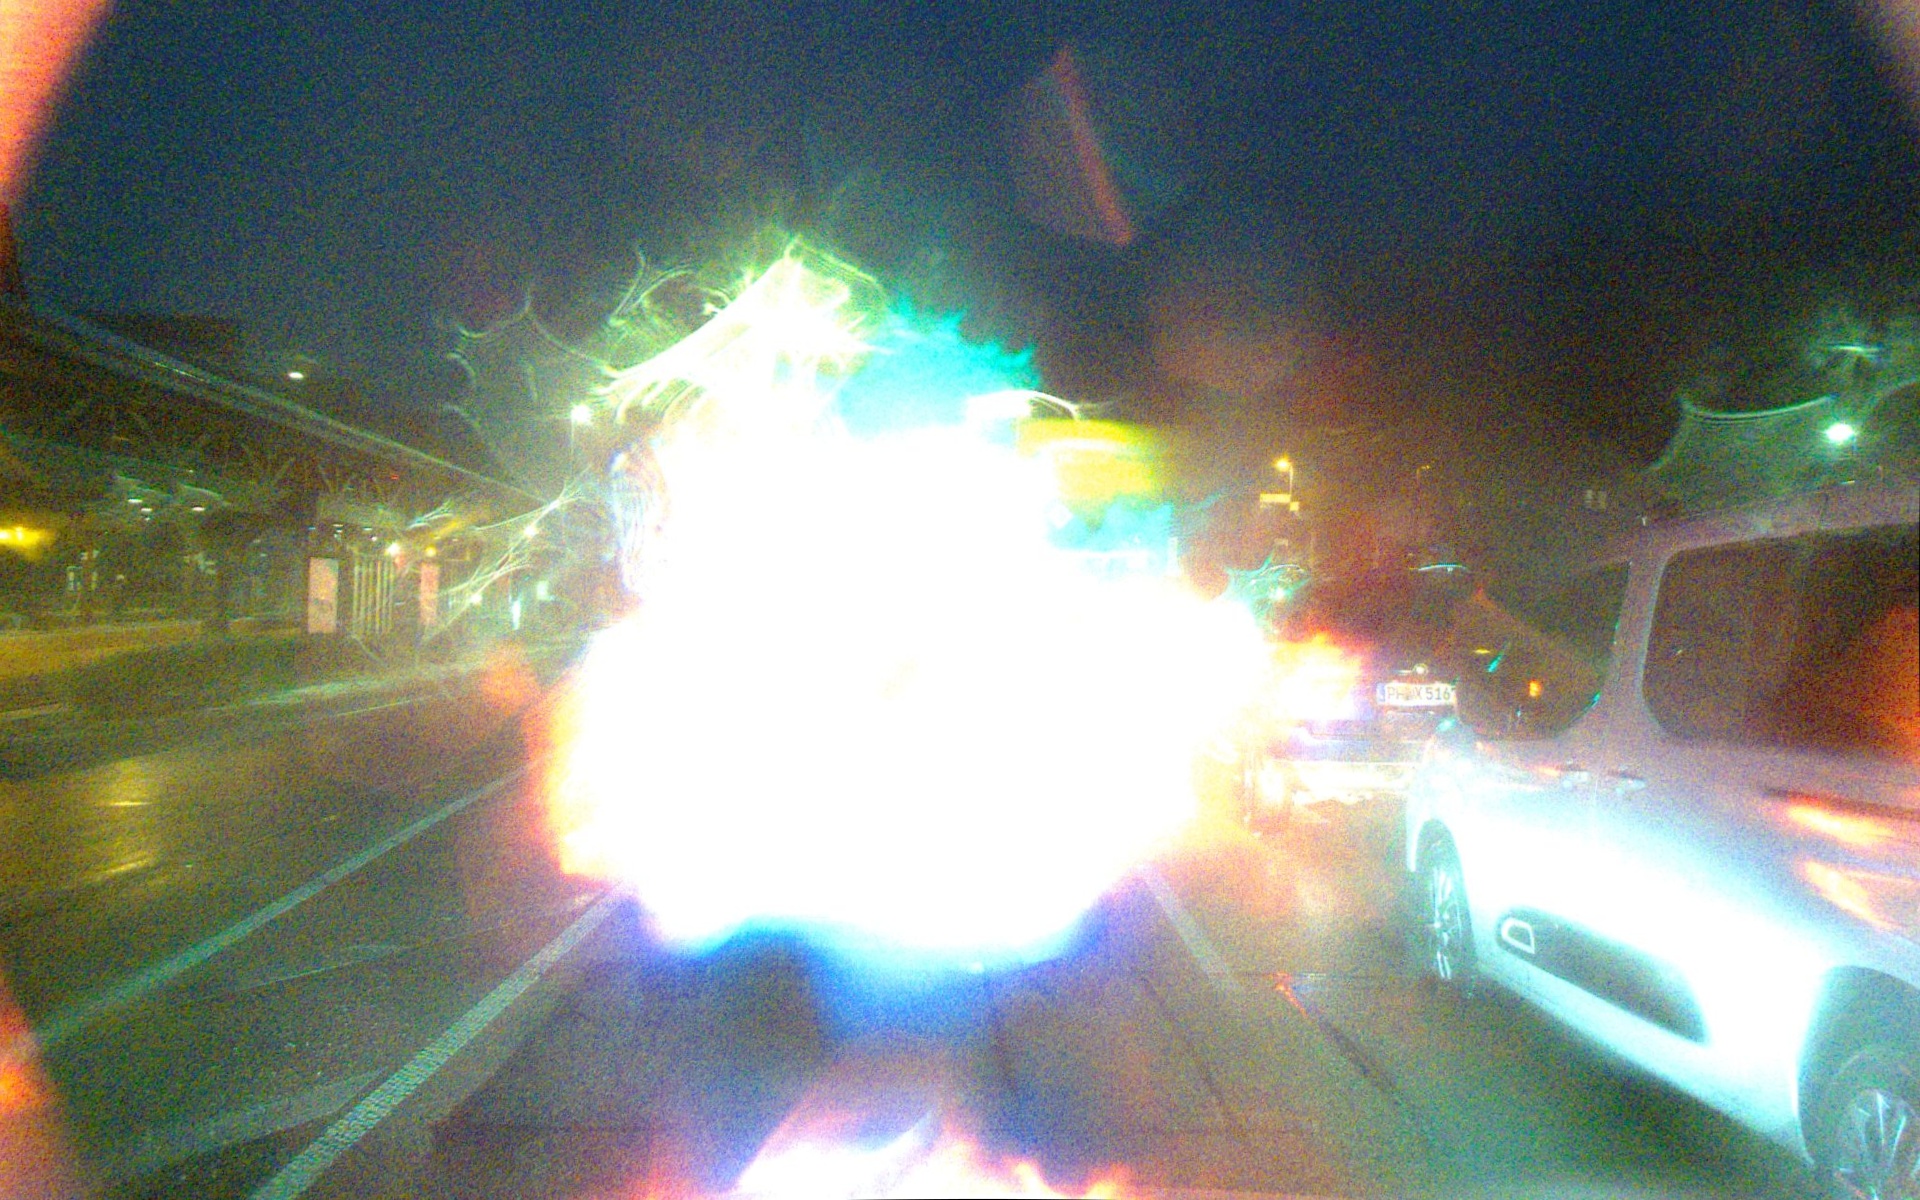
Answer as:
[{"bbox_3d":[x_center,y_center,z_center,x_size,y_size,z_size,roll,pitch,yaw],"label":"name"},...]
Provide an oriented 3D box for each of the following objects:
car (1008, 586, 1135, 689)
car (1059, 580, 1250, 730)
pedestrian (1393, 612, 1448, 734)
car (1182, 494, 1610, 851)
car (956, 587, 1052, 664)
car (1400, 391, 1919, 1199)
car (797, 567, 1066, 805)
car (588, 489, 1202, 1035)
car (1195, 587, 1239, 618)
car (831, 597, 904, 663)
[{"bbox_3d":[1.953,0.646,30.087,1.953,1.699,3.999,1,0,-1],"label":"car"},{"bbox_3d":[2.434,0.662,21.662,1.953,1.748,3.999,1,0,-1],"label":"car"},{"bbox_3d":[6.606,1.038,23.738,0.610,1.731,0.540,1,-1,-3],"label":"pedestrian"},{"bbox_3d":[2.866,0.442,11.826,1.929,2.082,3.999,1,0,-1],"label":"car"},{"bbox_3d":[1.045,0.628,41.471,1.955,1.804,3.996,1,0,-5],"label":"car"},{"bbox_3d":[2.744,0.564,4.593,1.814,1.897,4.339,1,0,-1],"label":"car"},{"bbox_3d":[-0.238,0.645,14.169,1.953,1.713,3.999,1,0,-1],"label":"car"},{"bbox_3d":[-0.254,0.543,7.630,1.974,1.747,4.450,1,0,-1],"label":"car"},{"bbox_3d":[14.626,0.149,94.386,1.827,1.675,3.962,-2,0,0],"label":"car"},{"bbox_3d":[-2.814,0.874,49.542,1.955,1.856,3.995,1,0,-6],"label":"car"}]
